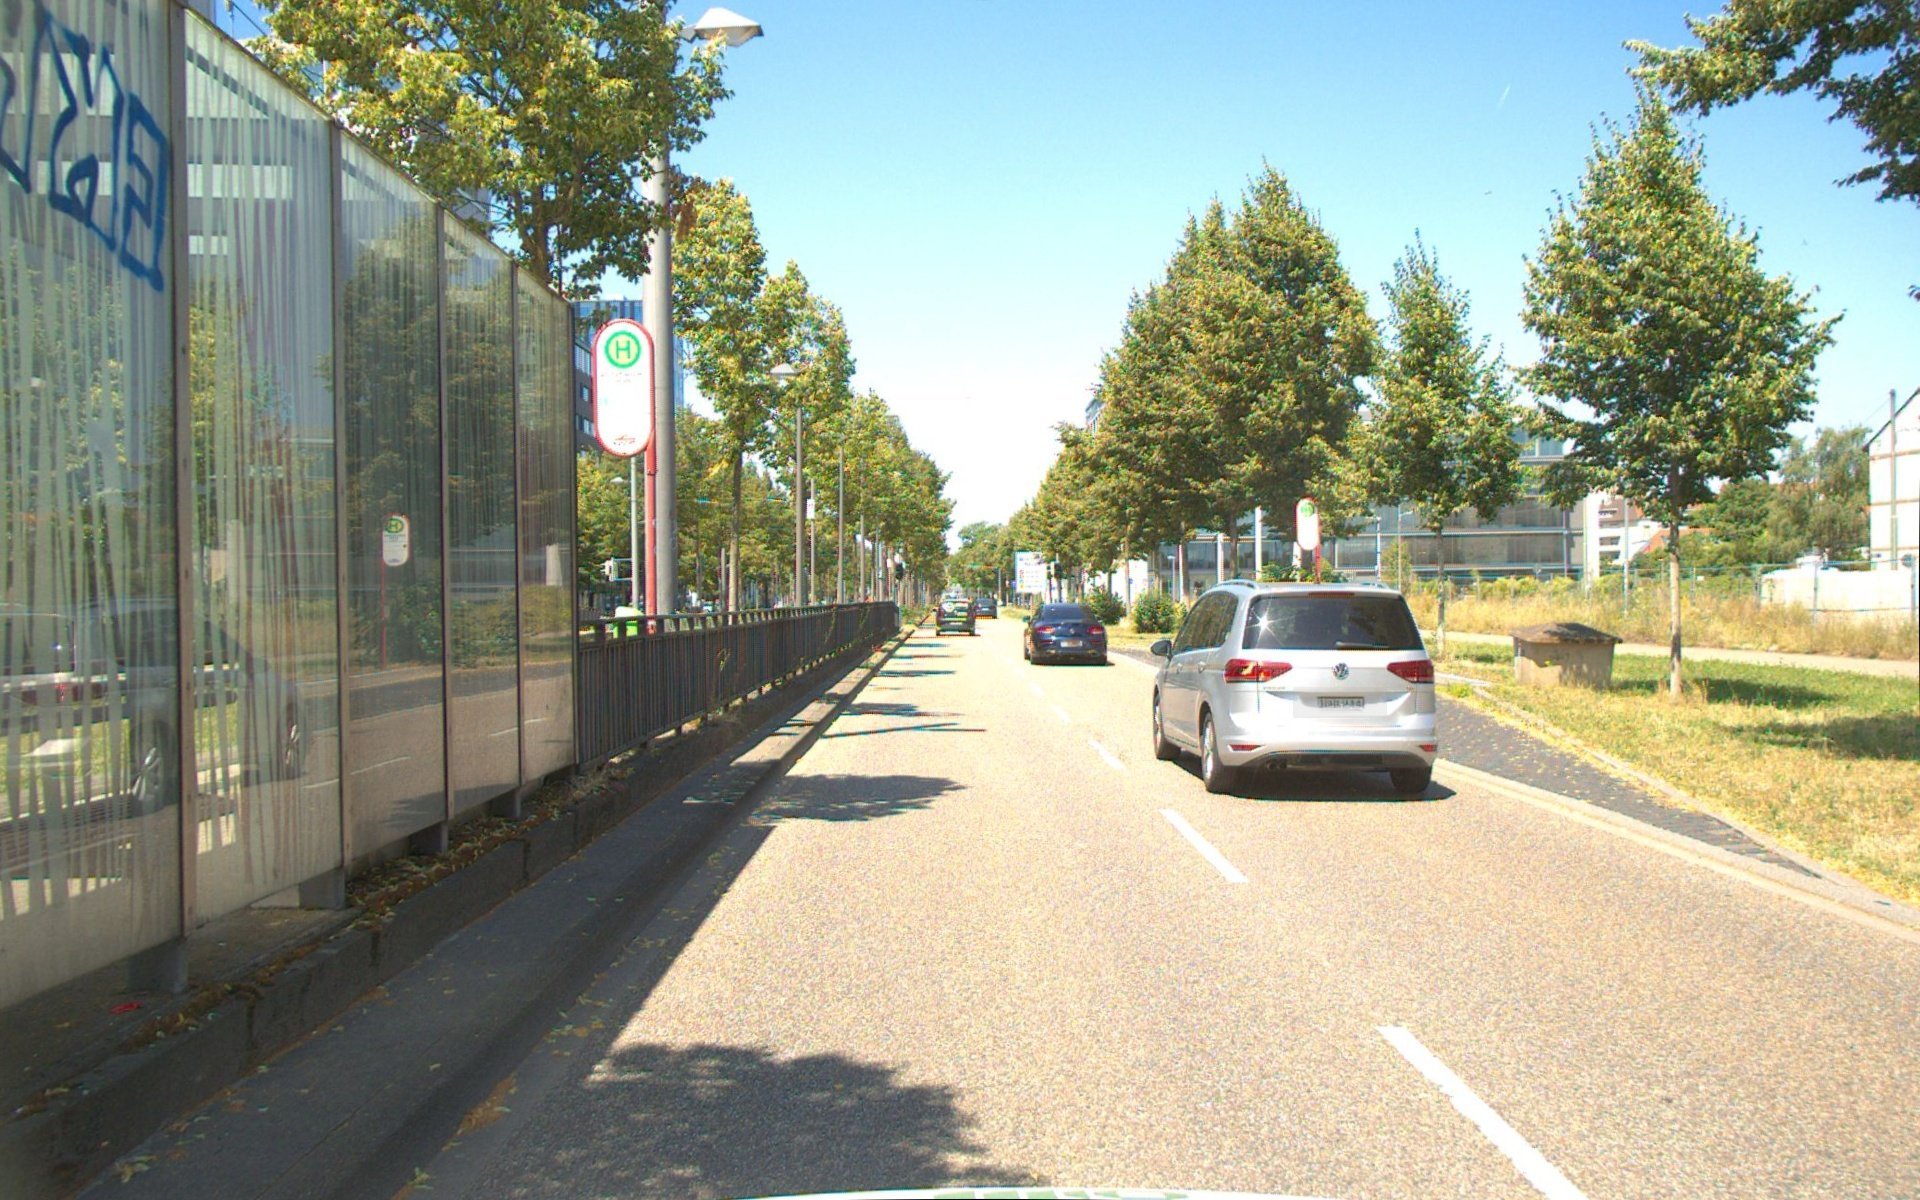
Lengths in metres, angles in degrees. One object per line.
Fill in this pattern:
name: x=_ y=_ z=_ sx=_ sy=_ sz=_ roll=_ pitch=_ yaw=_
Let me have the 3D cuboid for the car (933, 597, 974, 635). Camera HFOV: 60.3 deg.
car: x=-0.287 y=0.690 z=67.519 sx=1.586 sy=1.477 sz=3.985 roll=-1 pitch=-1 yaw=-1

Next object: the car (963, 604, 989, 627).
car: x=1.186 y=1.181 z=123.799 sx=1.730 sy=1.655 sz=3.714 roll=-1 pitch=-1 yaw=-2

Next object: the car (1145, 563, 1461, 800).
car: x=2.765 y=0.625 z=14.381 sx=1.764 sy=1.678 sz=4.604 roll=1 pitch=-1 yaw=0

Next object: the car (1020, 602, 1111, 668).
car: x=2.447 y=0.807 z=39.456 sx=1.814 sy=1.462 sz=4.954 roll=-1 pitch=0 yaw=0

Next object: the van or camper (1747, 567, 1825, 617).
van or camper: x=48.627 y=-0.422 z=97.431 sx=1.955 sy=2.851 sz=4.657 roll=-1 pitch=0 yaw=-5
